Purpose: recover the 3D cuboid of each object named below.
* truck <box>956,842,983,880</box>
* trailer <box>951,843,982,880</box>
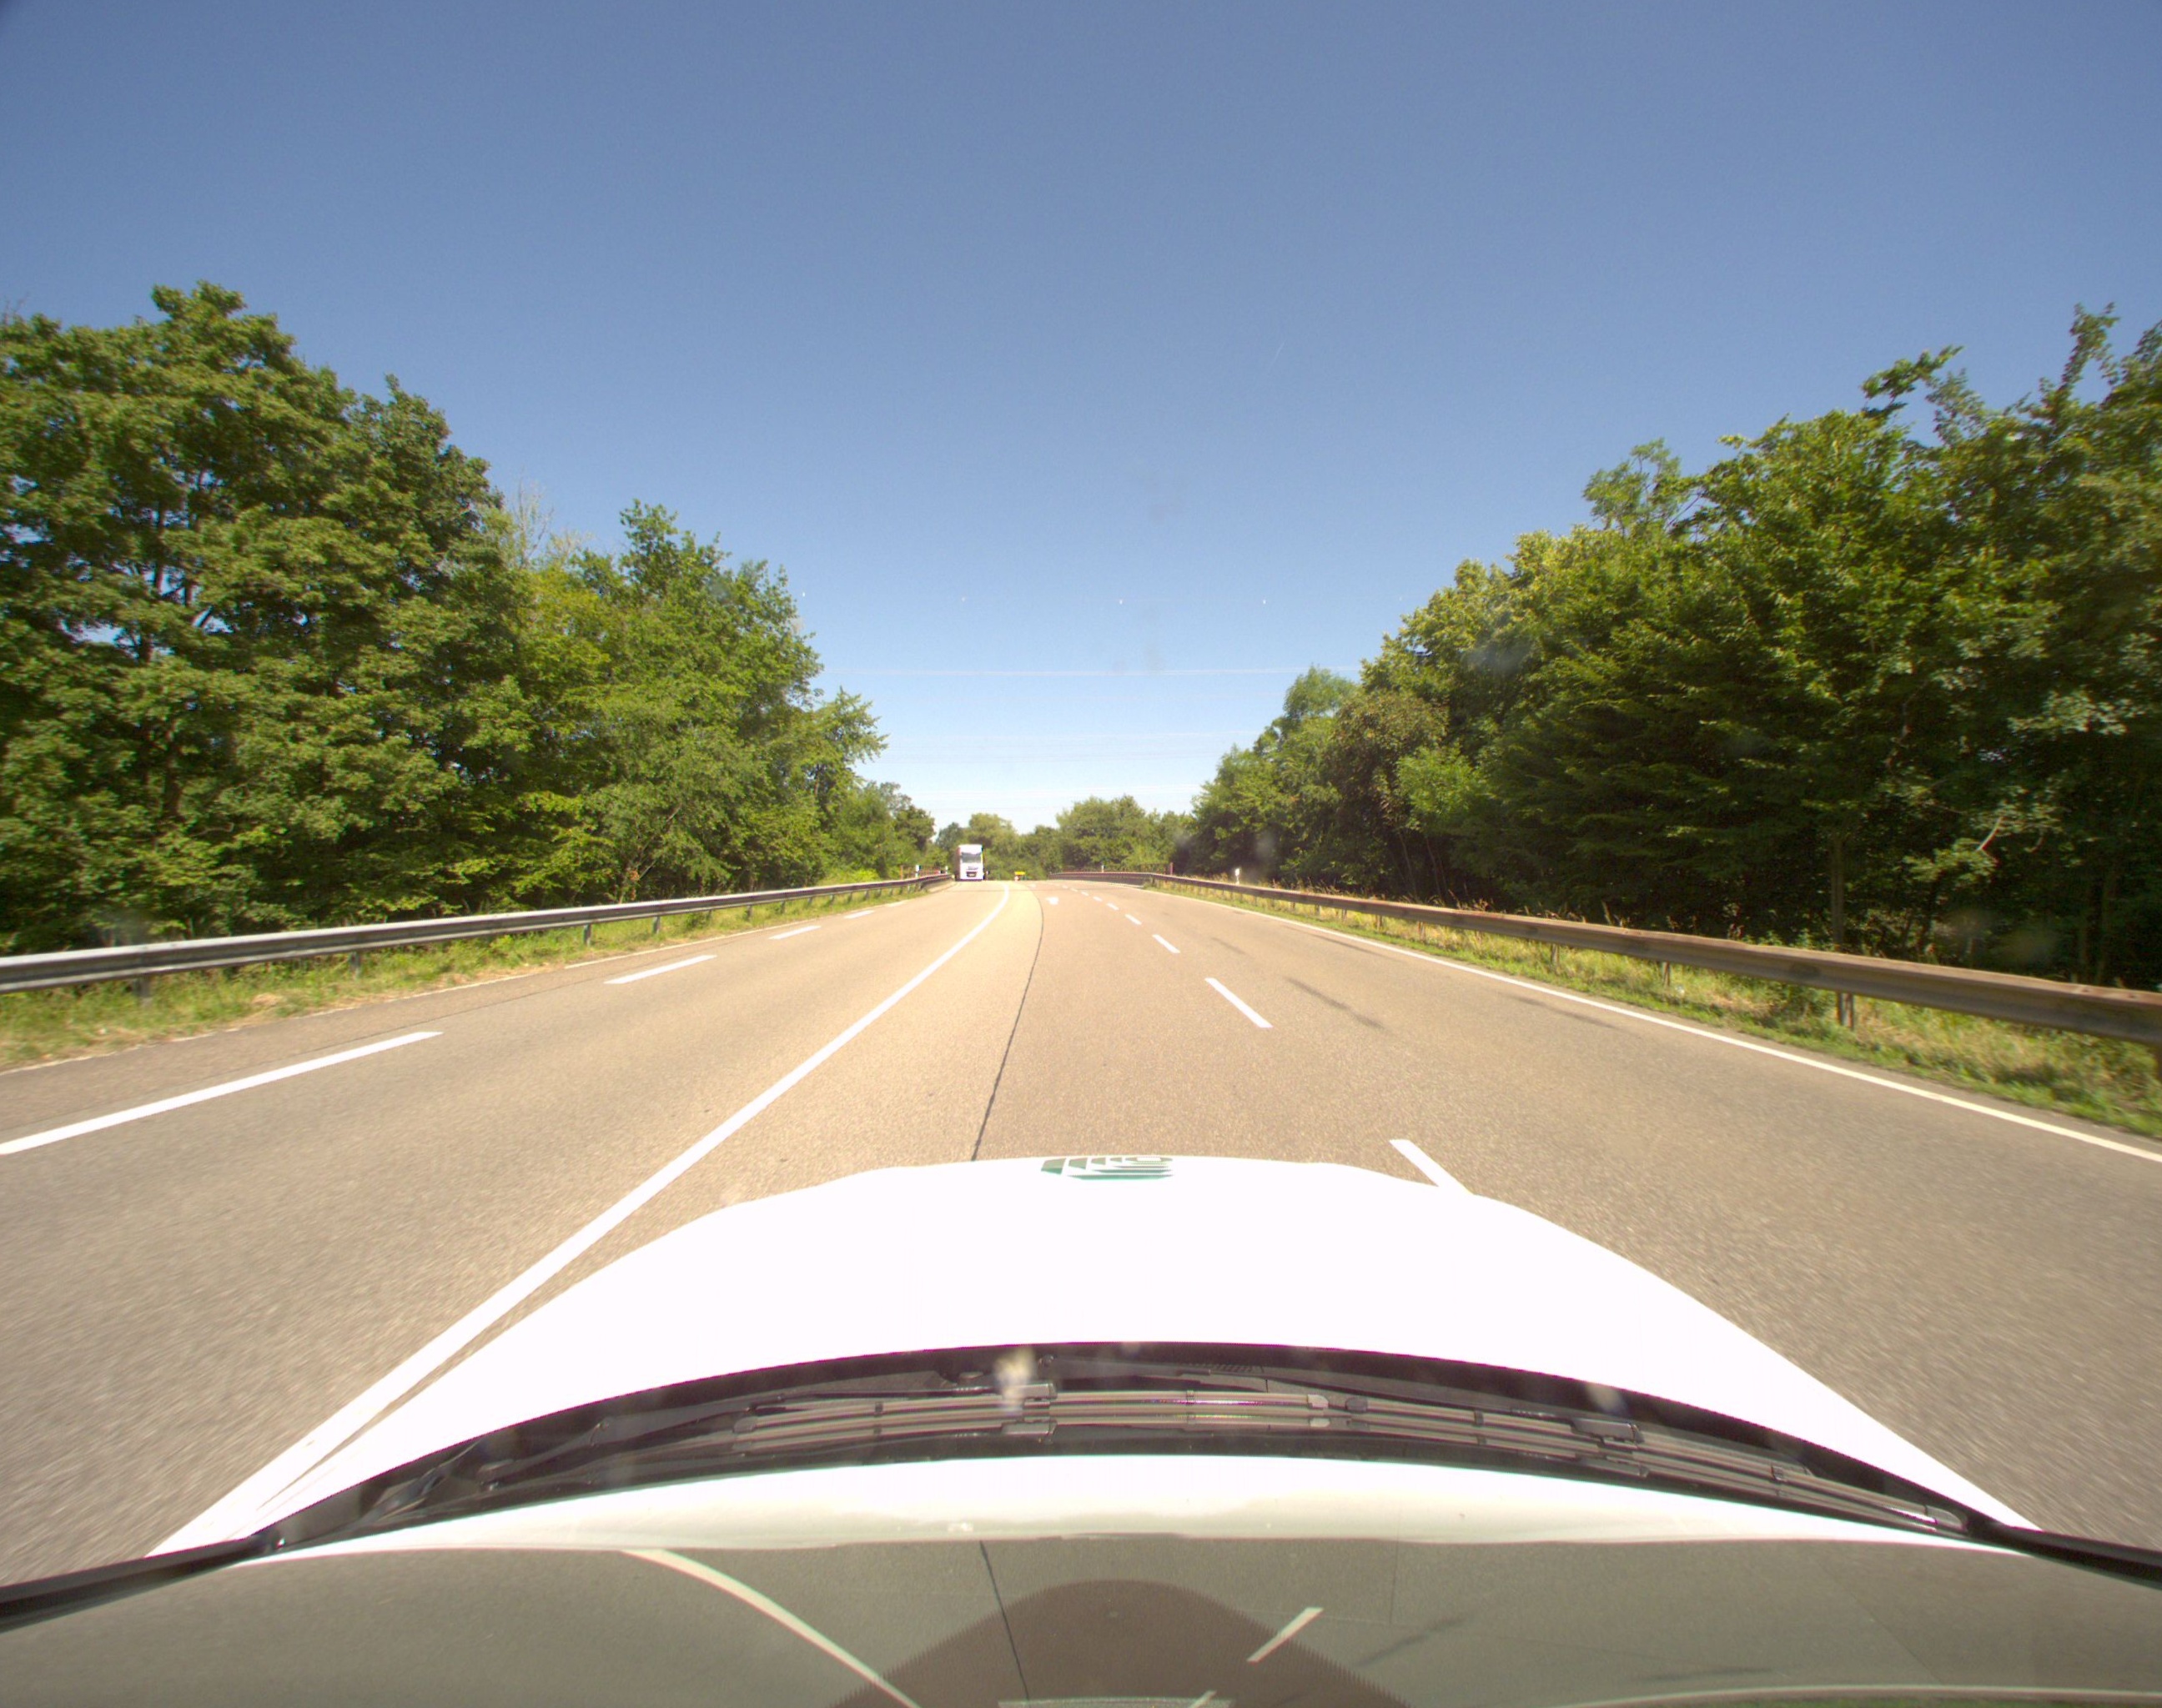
[{"bbox_3d":[-12.611,0.833,91.886,2.769,4.034,5.834,-1,-1,-10],"label":"truck"},{"bbox_3d":[-14.040,1.012,98.786,2.770,4.062,14.139,-1,-1,-12],"label":"trailer"}]
